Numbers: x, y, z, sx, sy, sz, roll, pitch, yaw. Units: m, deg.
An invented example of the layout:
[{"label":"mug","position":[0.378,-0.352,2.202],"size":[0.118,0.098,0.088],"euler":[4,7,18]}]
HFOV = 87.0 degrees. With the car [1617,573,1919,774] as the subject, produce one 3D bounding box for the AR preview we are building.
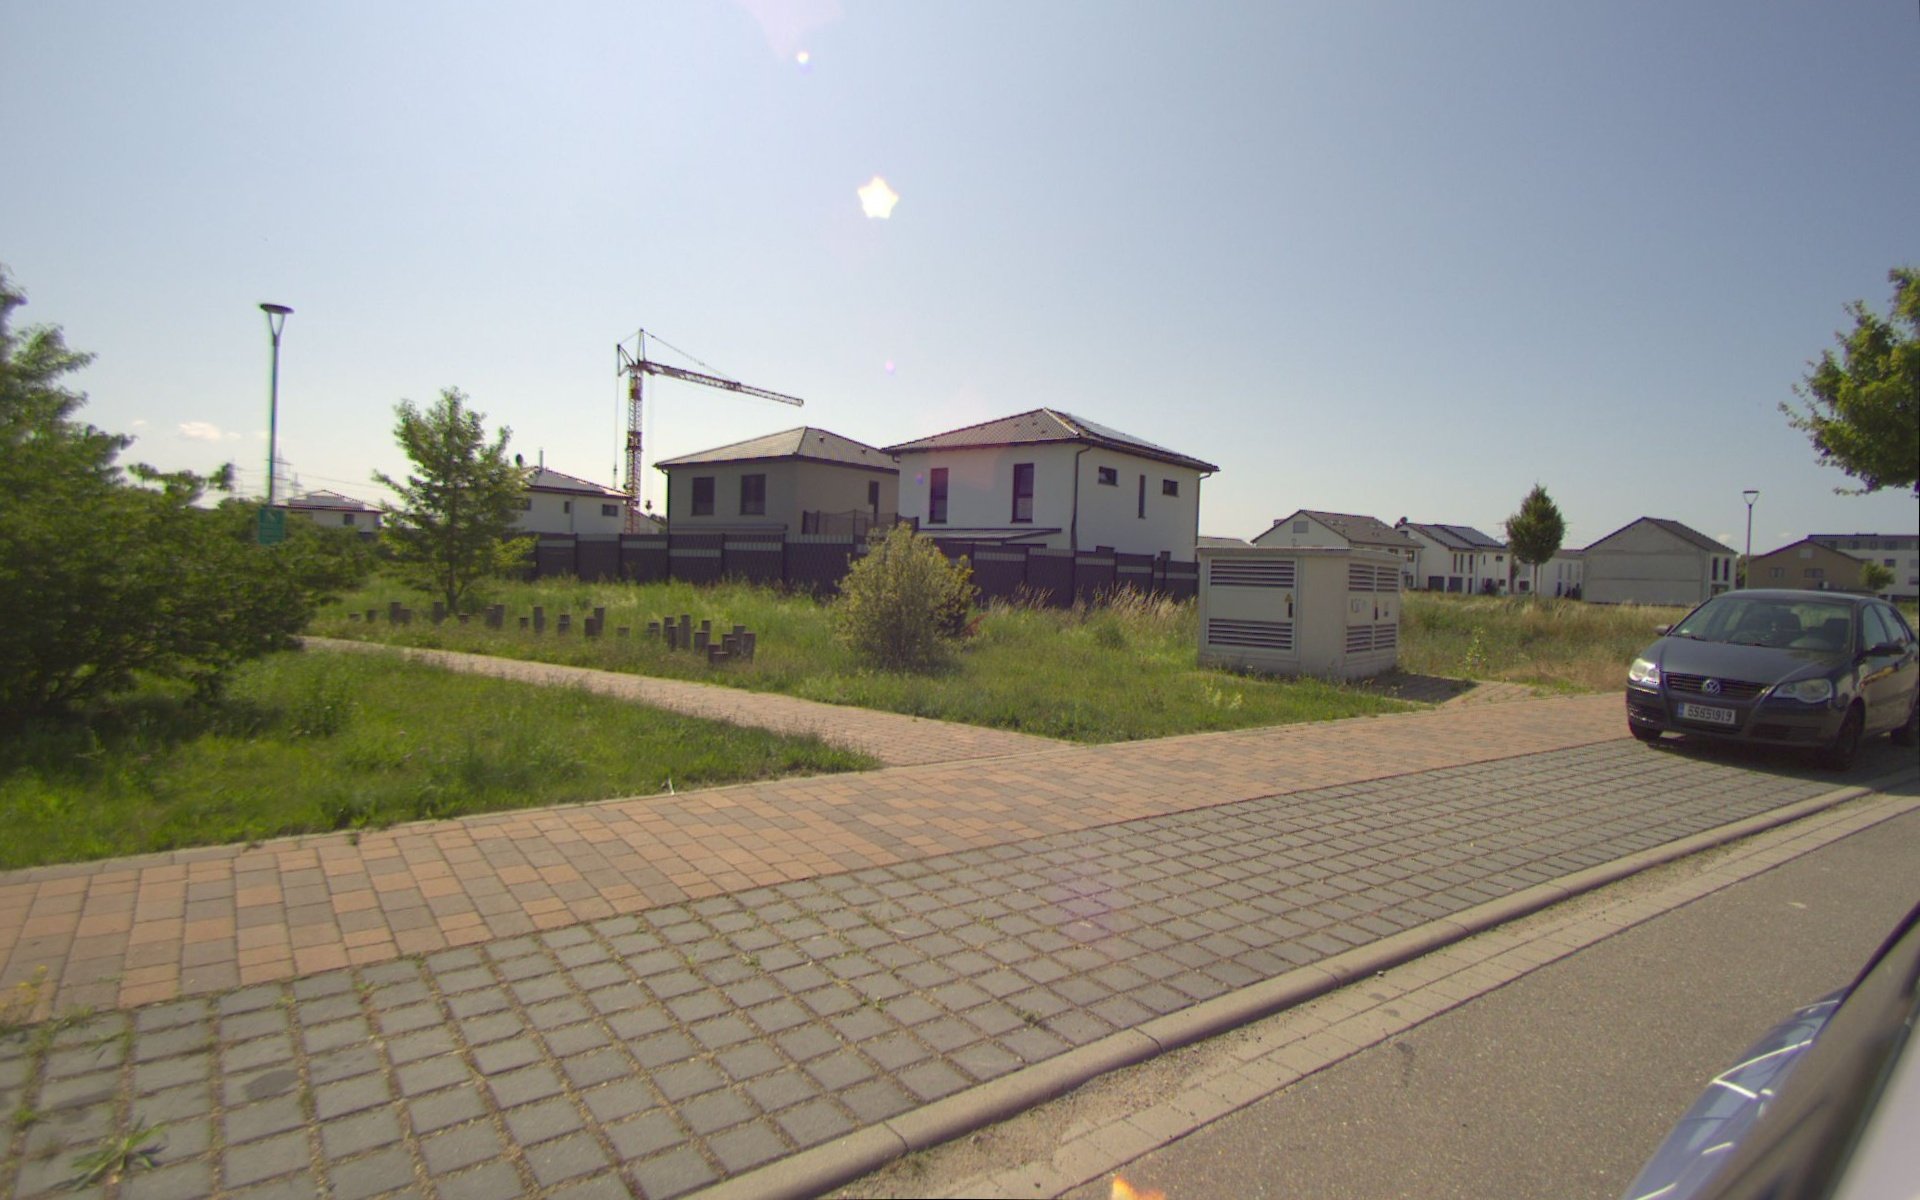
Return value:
[{"label":"car","position":[7.908,0.568,9.597],"size":[3.606,1.493,1.604],"euler":[0,4,-37]}]
